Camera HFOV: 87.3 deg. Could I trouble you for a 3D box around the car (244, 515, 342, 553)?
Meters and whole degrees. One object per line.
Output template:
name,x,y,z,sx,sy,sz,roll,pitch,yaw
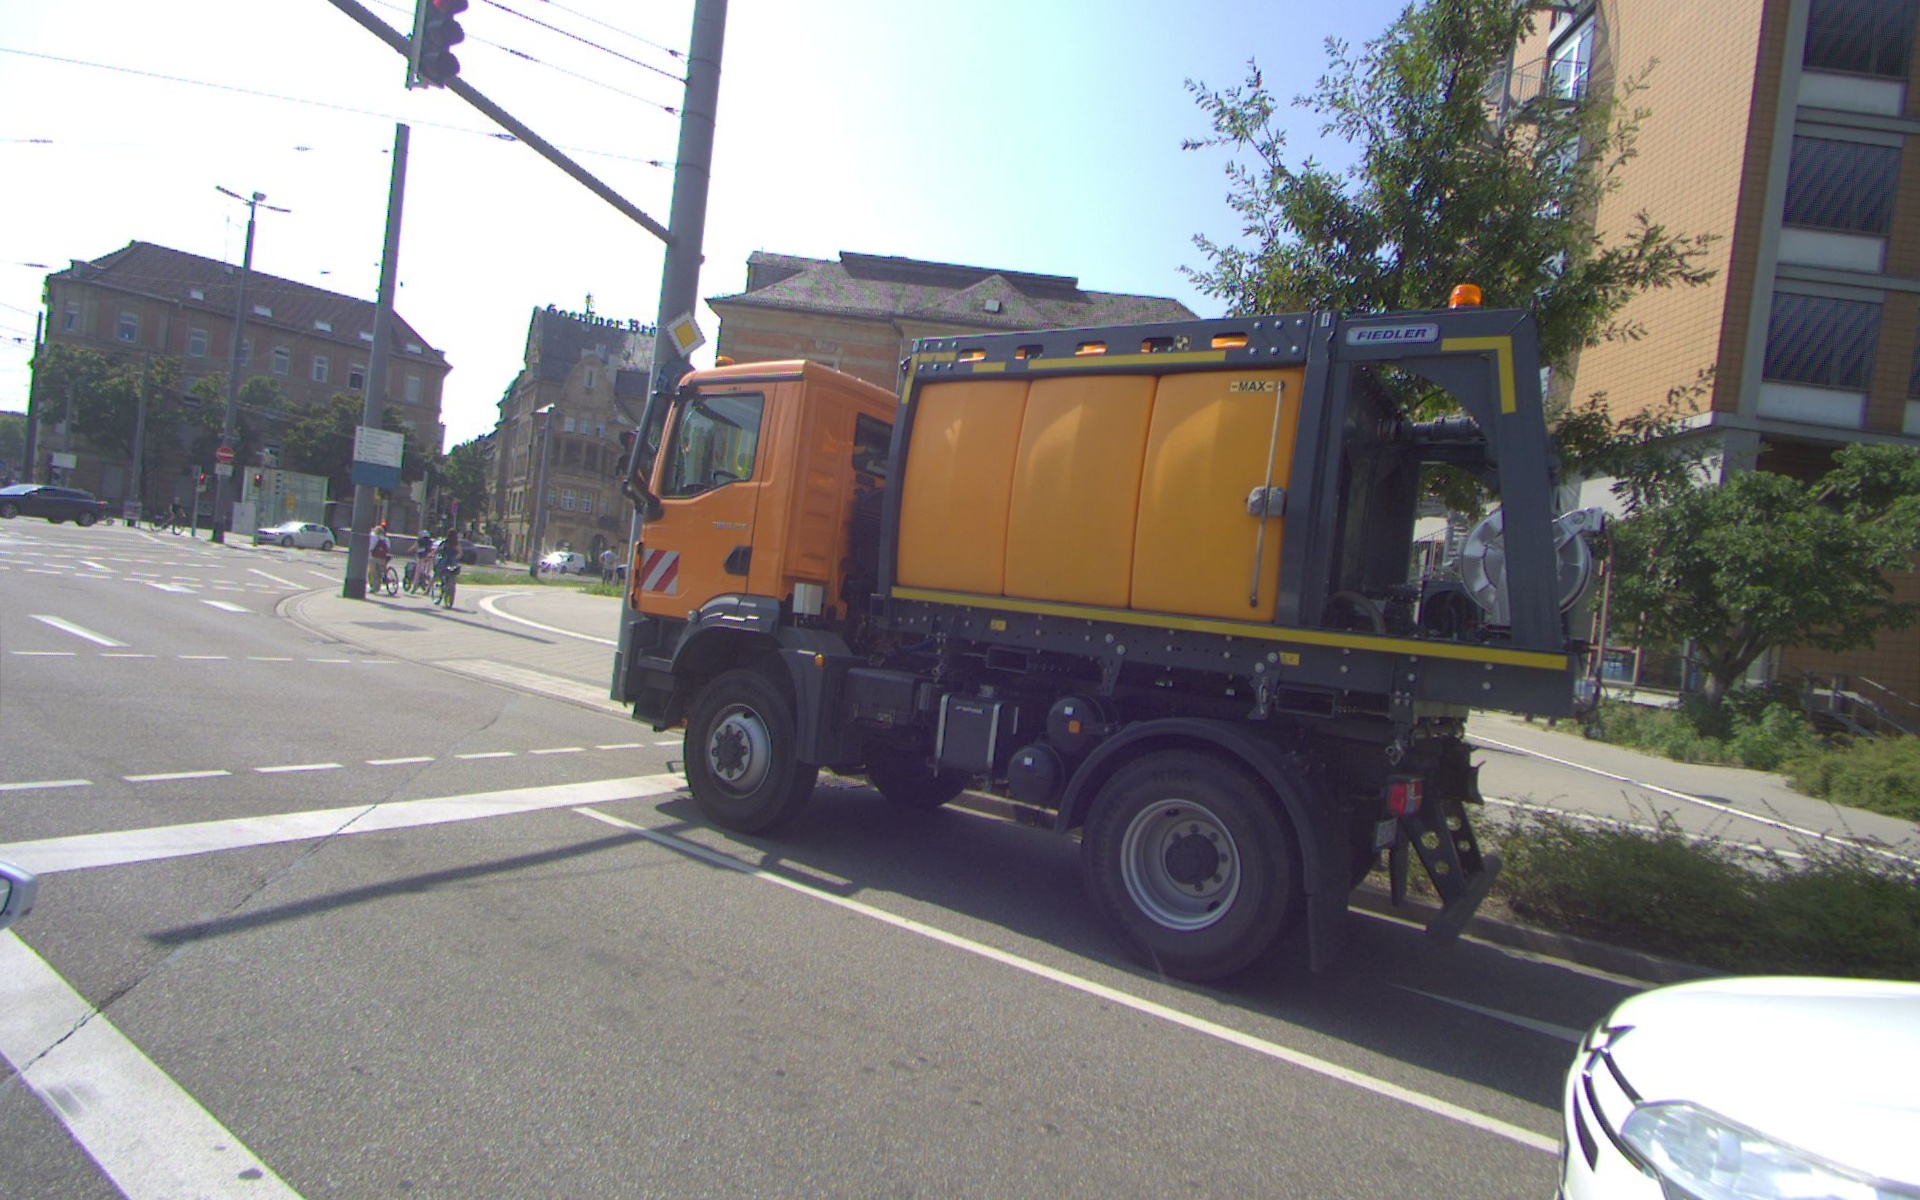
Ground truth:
car,-34.650,-3.410,52.366,1.742,1.433,4.204,7,0,10

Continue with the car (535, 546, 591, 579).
car,-31.130,-2.906,78.984,1.962,2.038,4.627,7,0,7

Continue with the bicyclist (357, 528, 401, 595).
bicyclist,-14.125,-0.934,24.454,0.702,1.537,0.626,7,1,44

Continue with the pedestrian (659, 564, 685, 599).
pedestrian,-12.512,-0.786,43.740,0.679,1.417,0.767,7,1,7

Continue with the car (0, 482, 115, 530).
car,-36.746,-3.803,39.929,1.742,1.433,4.771,7,0,13

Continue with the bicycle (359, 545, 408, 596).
bicycle,-13.928,-0.727,24.281,1.632,1.068,0.535,7,1,45

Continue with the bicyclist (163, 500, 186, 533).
bicyclist,-39.542,-4.209,50.651,0.511,1.548,0.613,7,1,8

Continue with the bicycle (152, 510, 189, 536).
bicycle,-39.768,-3.871,50.683,1.622,1.068,0.471,7,1,12

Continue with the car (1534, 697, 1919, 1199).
car,3.276,1.176,1.081,4.533,1.446,1.770,7,0,32

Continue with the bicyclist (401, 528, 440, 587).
bicyclist,-14.019,-1.109,26.150,0.882,1.410,0.529,7,1,44

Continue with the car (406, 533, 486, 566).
car,-32.871,-3.198,64.511,1.962,1.523,4.628,7,0,12

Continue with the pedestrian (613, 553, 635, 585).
pedestrian,-13.737,-1.265,41.116,0.659,1.229,0.523,6,1,-30

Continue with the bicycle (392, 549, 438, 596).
bicycle,-14.326,-0.733,26.417,1.632,1.068,0.535,7,1,45

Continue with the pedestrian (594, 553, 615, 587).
pedestrian,-17.461,-1.464,49.458,0.727,1.595,0.787,6,1,-14

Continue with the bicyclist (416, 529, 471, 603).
bicyclist,-11.501,-0.758,22.404,0.653,1.537,0.734,7,1,36

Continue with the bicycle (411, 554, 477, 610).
bicycle,-11.486,-0.415,22.379,1.795,1.068,0.492,7,1,37

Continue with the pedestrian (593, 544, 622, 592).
pedestrian,-13.551,-1.220,38.716,0.808,1.746,0.546,6,1,-9

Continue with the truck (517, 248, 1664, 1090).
truck,0.334,0.057,6.695,6.751,3.171,2.495,7,-1,34
